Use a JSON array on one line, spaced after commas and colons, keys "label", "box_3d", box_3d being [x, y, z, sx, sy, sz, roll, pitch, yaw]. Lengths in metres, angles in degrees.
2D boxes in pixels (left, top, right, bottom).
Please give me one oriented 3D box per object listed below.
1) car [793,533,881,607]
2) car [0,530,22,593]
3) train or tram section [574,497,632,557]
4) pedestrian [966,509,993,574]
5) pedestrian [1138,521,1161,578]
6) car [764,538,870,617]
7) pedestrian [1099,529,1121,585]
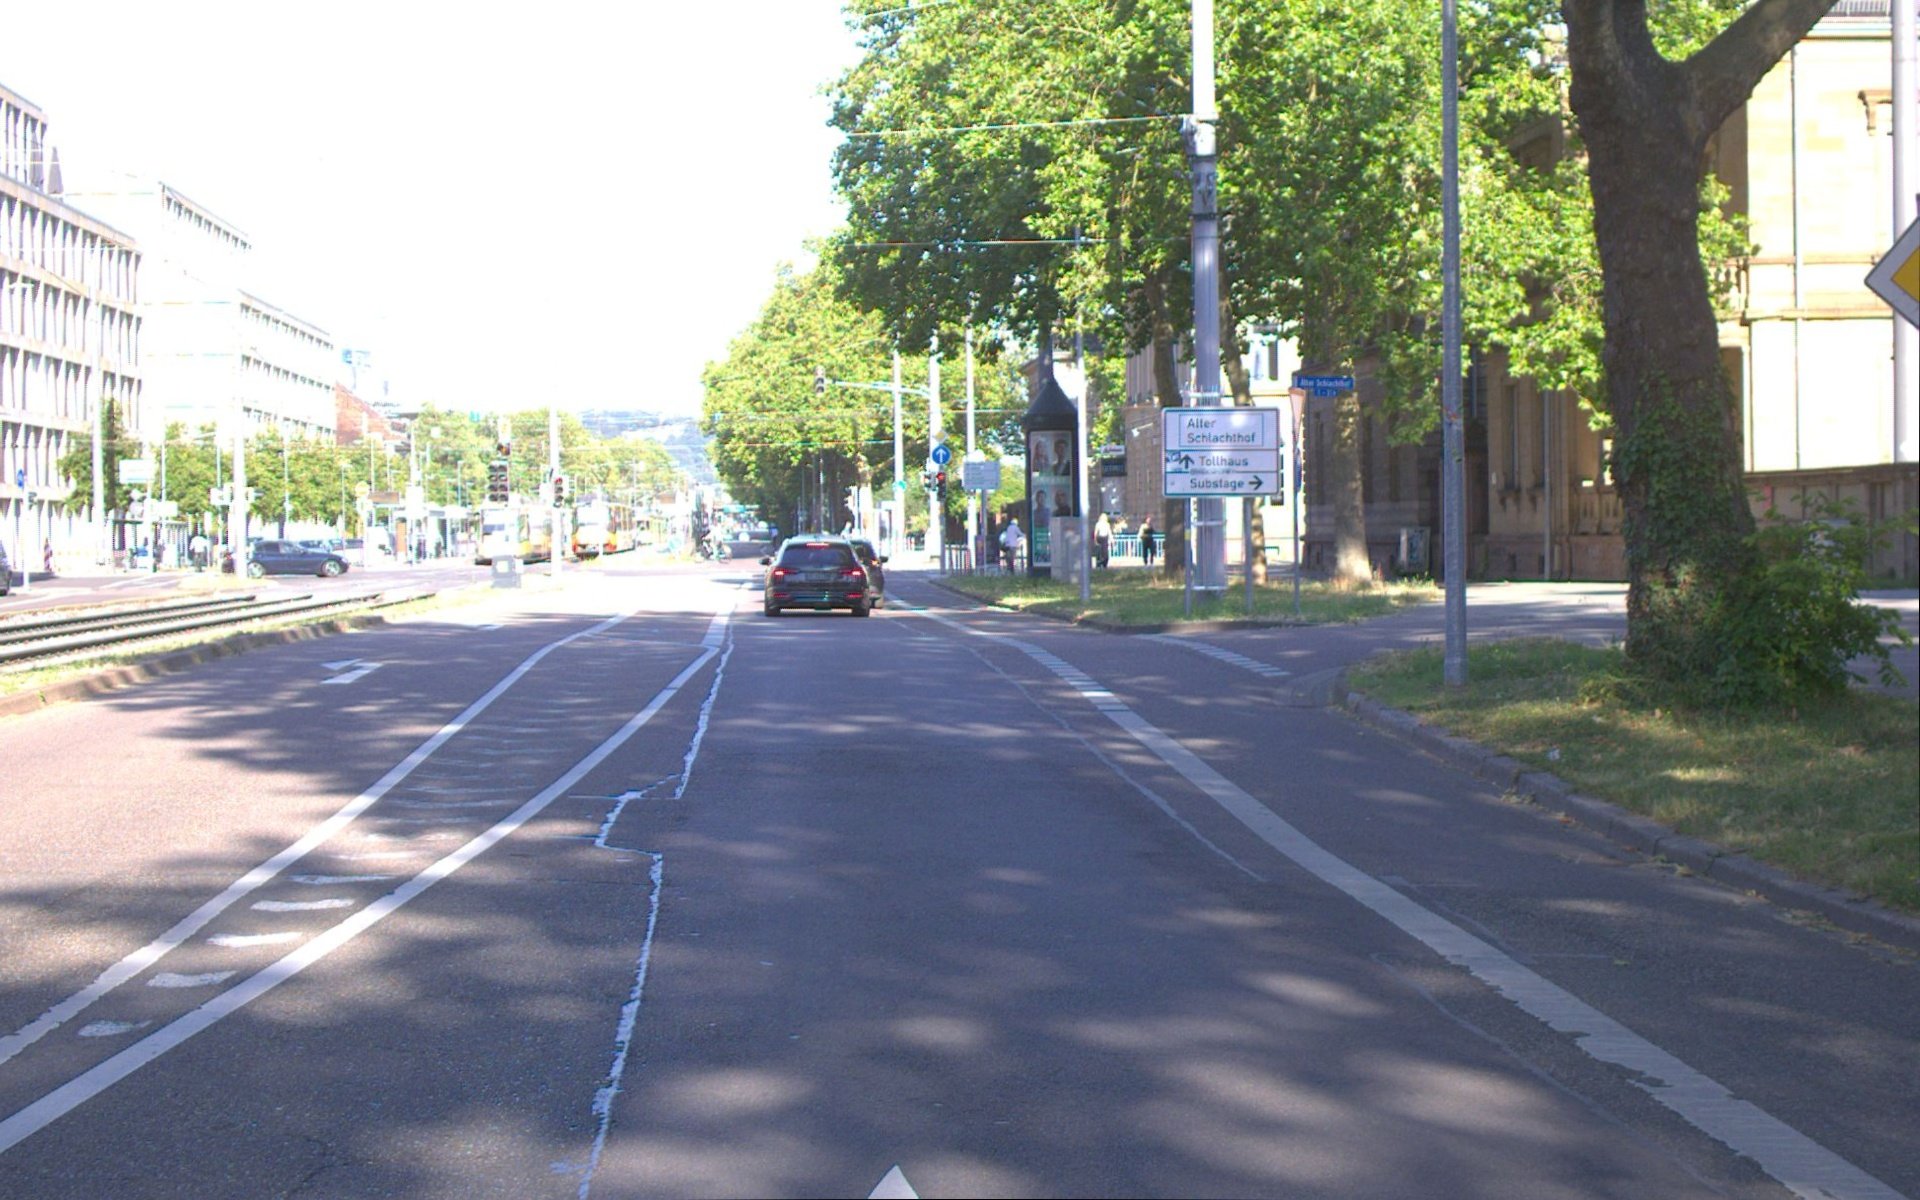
[{"label": "car", "box_3d": [-2.626, -0.654, 72.743, 1.794, 1.505, 4.001, -1, 1, -3]}, {"label": "car", "box_3d": [-27.579, -1.112, 96.147, 1.794, 1.713, 4.186, 2, 1, -5]}, {"label": "train or tram section", "box_3d": [-21.193, -4.368, 204.663, 2.825, 3.439, 9.065, -1, 1, -2]}, {"label": "pedestrian", "box_3d": [0.524, -1.566, 92.440, 0.588, 1.722, 0.650, 1, 1, 9]}, {"label": "pedestrian", "box_3d": [5.833, -1.555, 105.844, 0.588, 1.722, 0.650, 1, 1, 11]}, {"label": "car", "box_3d": [-2.651, -0.437, 63.027, 1.833, 1.386, 4.160, 0, 1, -4]}, {"label": "pedestrian", "box_3d": [4.624, -1.321, 106.038, 0.588, 1.722, 0.650, 1, 1, 9]}]
